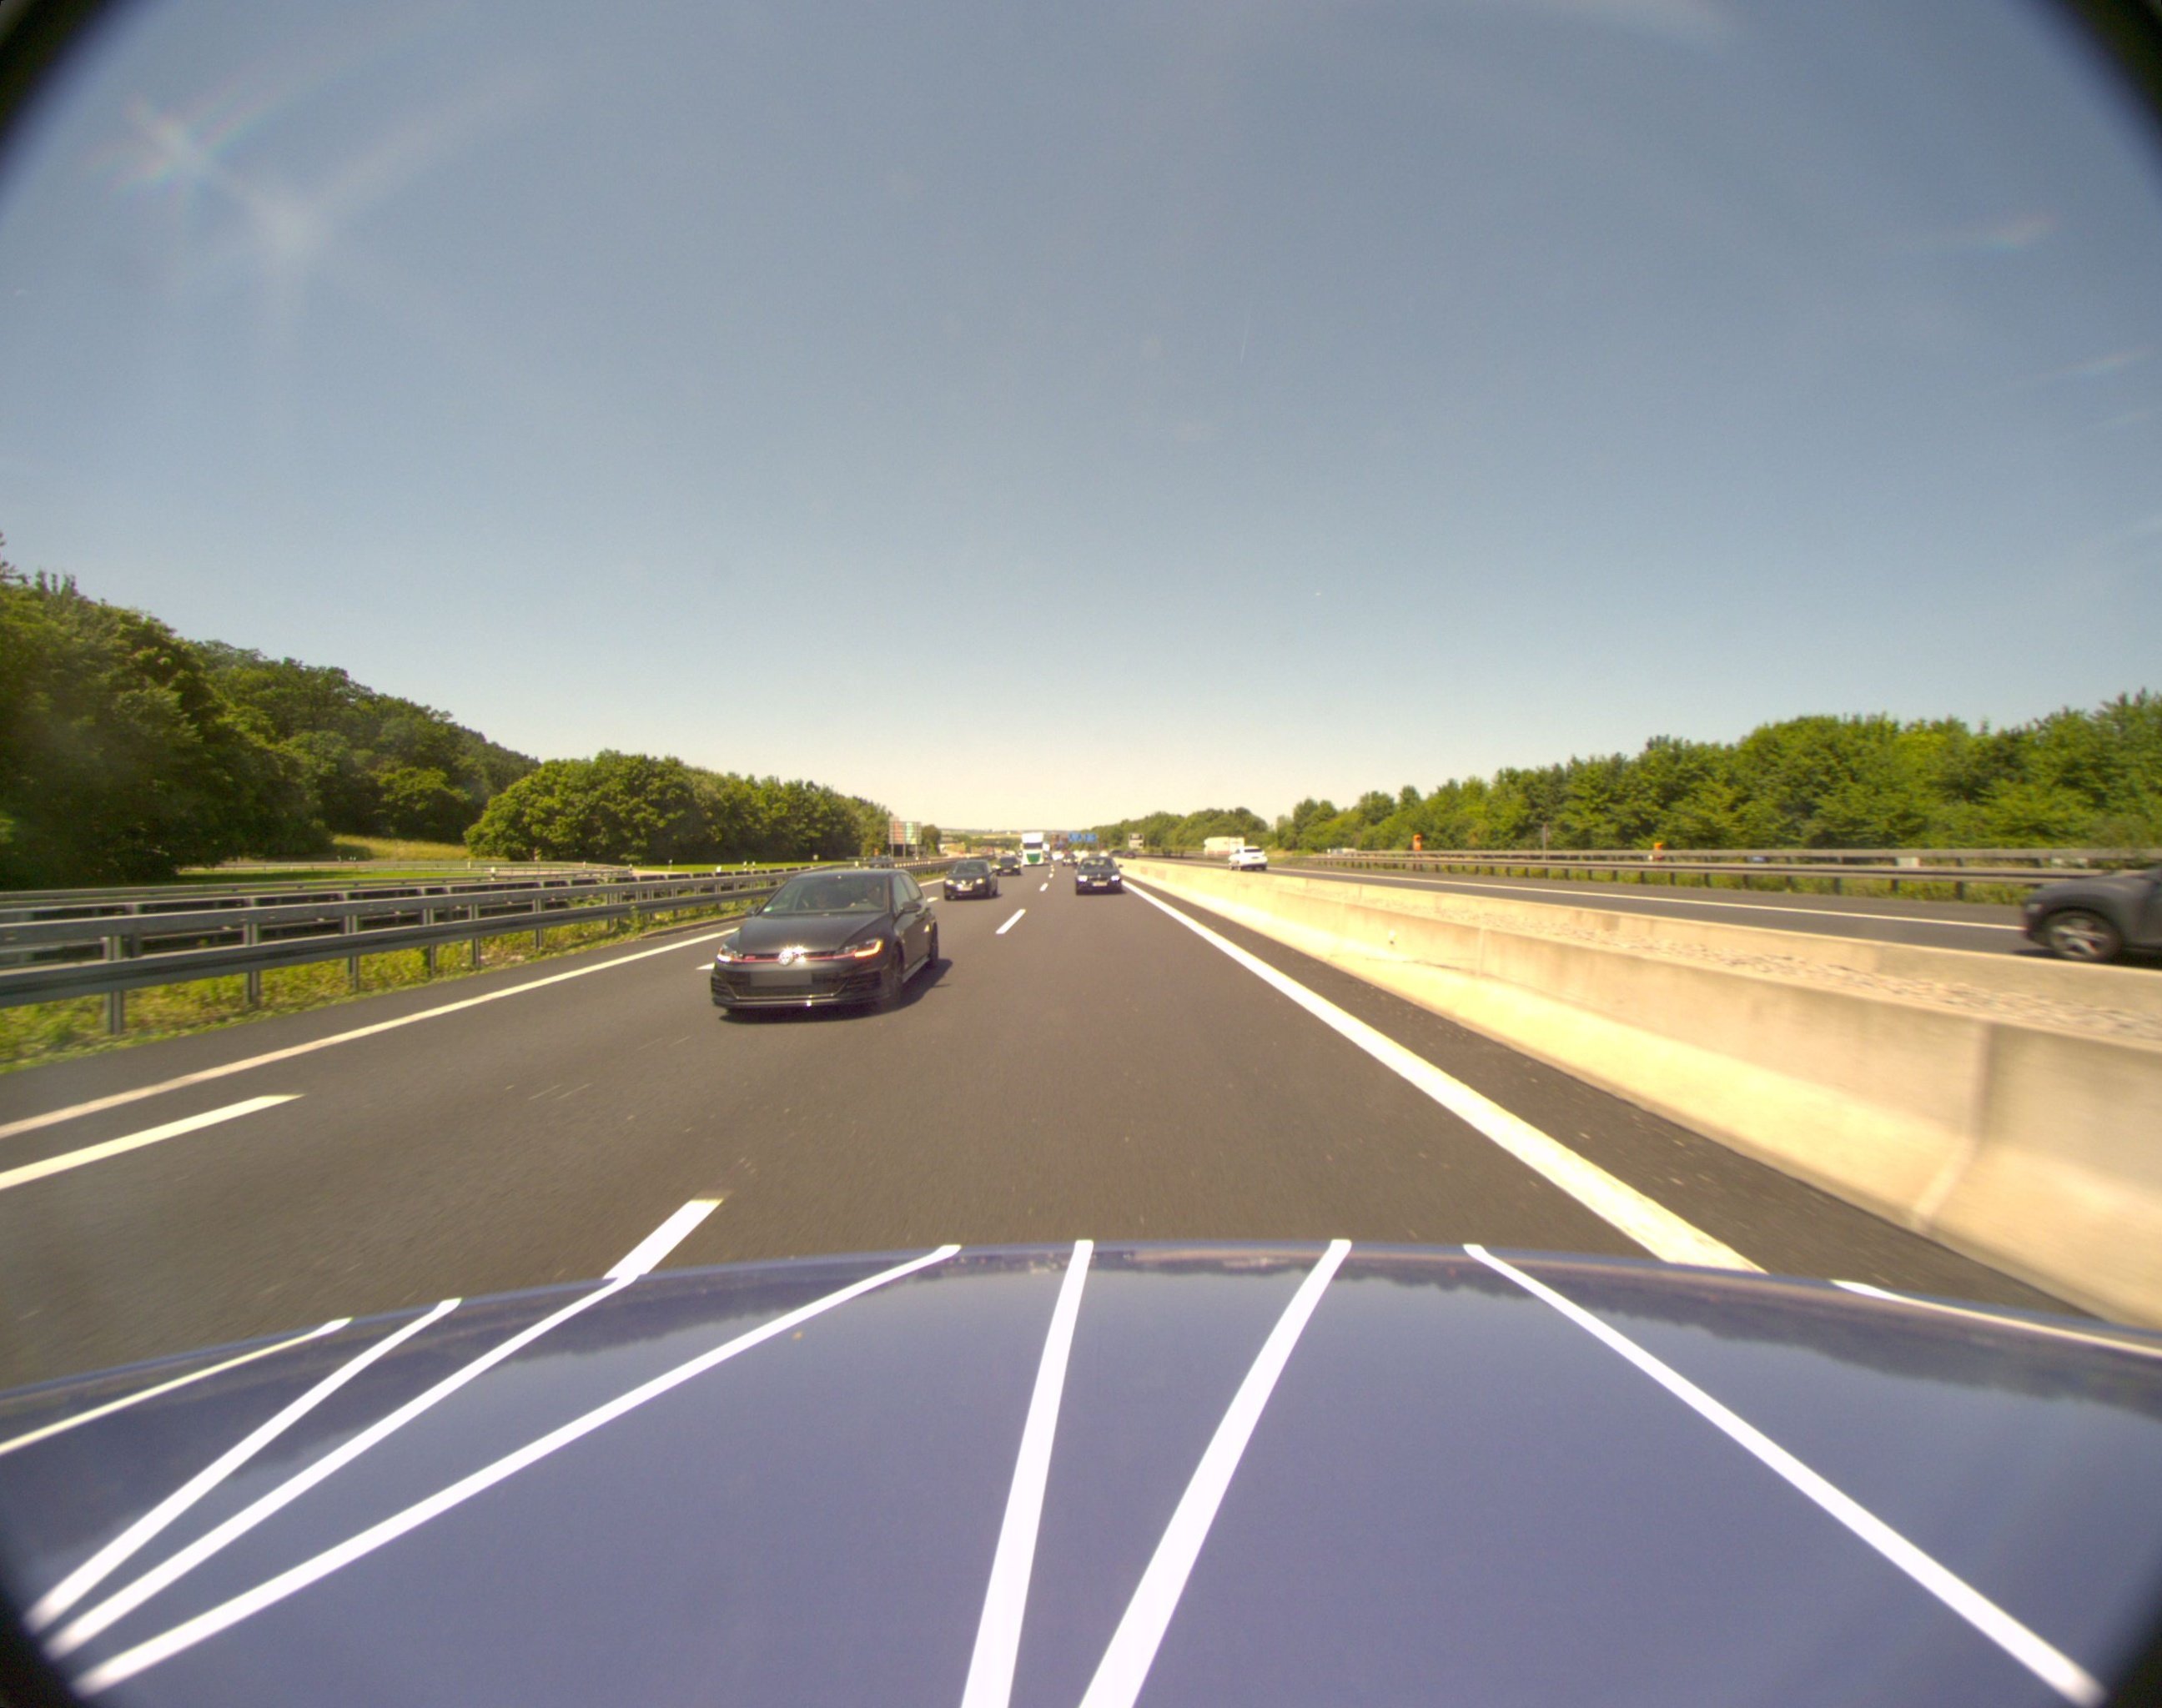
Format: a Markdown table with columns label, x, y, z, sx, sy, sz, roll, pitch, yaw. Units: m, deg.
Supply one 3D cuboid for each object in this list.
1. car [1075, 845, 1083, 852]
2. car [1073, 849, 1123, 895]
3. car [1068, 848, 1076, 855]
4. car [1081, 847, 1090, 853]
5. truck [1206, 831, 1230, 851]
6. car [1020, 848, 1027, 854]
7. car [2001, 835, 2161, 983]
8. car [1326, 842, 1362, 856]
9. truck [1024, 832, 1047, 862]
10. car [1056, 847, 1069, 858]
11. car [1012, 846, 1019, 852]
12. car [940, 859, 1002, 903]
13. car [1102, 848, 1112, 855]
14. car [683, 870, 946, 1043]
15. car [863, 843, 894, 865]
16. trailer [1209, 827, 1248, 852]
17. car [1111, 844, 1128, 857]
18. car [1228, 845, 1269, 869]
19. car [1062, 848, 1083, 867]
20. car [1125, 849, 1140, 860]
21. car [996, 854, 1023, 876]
| label | x | y | z | sx | sy | sz | roll | pitch | yaw |
| --- | --- | --- | --- | --- | --- | --- | --- | --- | --- |
| car | -0.551 | -1.580 | 216.658 | 1.874 | 1.656 | 4.660 | -2 | 1 | -6 |
| car | 0.652 | 0.638 | 29.506 | 1.798 | 1.574 | 3.999 | -1 | 1 | 1 |
| car | -2.521 | -0.626 | 206.632 | 1.999 | 1.649 | 4.632 | -1 | 1 | -3 |
| car | 1.227 | -0.989 | 193.537 | 1.999 | 1.535 | 5.039 | -1 | 1 | -3 |
| truck | 24.745 | -2.319 | 137.516 | 3.091 | 3.484 | 5.407 | -1 | 1 | -2 |
| car | -16.047 | -0.969 | 211.392 | 1.999 | 1.618 | 3.998 | -1 | 1 | -5 |
| car | 12.351 | 0.585 | 7.357 | 1.732 | 1.523 | 4.260 | -2 | 1 | 0 |
| car | 27.463 | -0.552 | 79.485 | 1.999 | 1.451 | 4.867 | -1 | 1 | -1 |
| truck | -5.681 | -0.860 | 94.820 | 2.649 | 3.572 | 4.401 | -1 | 1 | -3 |
| car | -3.177 | -0.260 | 132.175 | 1.925 | 2.002 | 3.997 | -1 | 1 | -6 |
| car | -22.184 | -1.759 | 257.642 | 1.999 | 2.002 | 3.999 | -1 | 1 | -1 |
| car | -4.047 | 0.955 | 28.576 | 1.781 | 1.392 | 3.760 | -1 | 1 | 0 |
| car | 5.588 | -0.593 | 164.103 | 1.855 | 1.386 | 3.999 | -3 | 1 | -3 |
| car | -2.831 | 0.998 | 9.070 | 1.799 | 1.427 | 3.965 | -2 | 1 | -2 |
| car | -18.869 | -0.029 | 70.844 | 1.999 | 2.002 | 3.998 | -1 | 1 | -3 |
| trailer | 25.108 | -2.424 | 130.257 | 3.117 | 3.974 | 14.078 | -1 | 1 | -3 |
| car | 5.800 | -0.568 | 115.795 | 2.041 | 1.847 | 5.372 | -1 | 1 | -3 |
| car | 11.876 | 0.190 | 54.116 | 1.792 | 1.622 | 4.929 | -2 | 1 | 0 |
| car | -1.011 | 0.395 | 88.801 | 2.000 | 2.002 | 3.996 | -2 | 1 | -8 |
| car | 8.936 | 0.114 | 131.695 | 1.999 | 1.814 | 4.903 | -1 | 1 | -2 |
| car | -5.433 | 0.805 | 57.342 | 1.892 | 1.464 | 3.864 | -1 | 1 | -6 |
